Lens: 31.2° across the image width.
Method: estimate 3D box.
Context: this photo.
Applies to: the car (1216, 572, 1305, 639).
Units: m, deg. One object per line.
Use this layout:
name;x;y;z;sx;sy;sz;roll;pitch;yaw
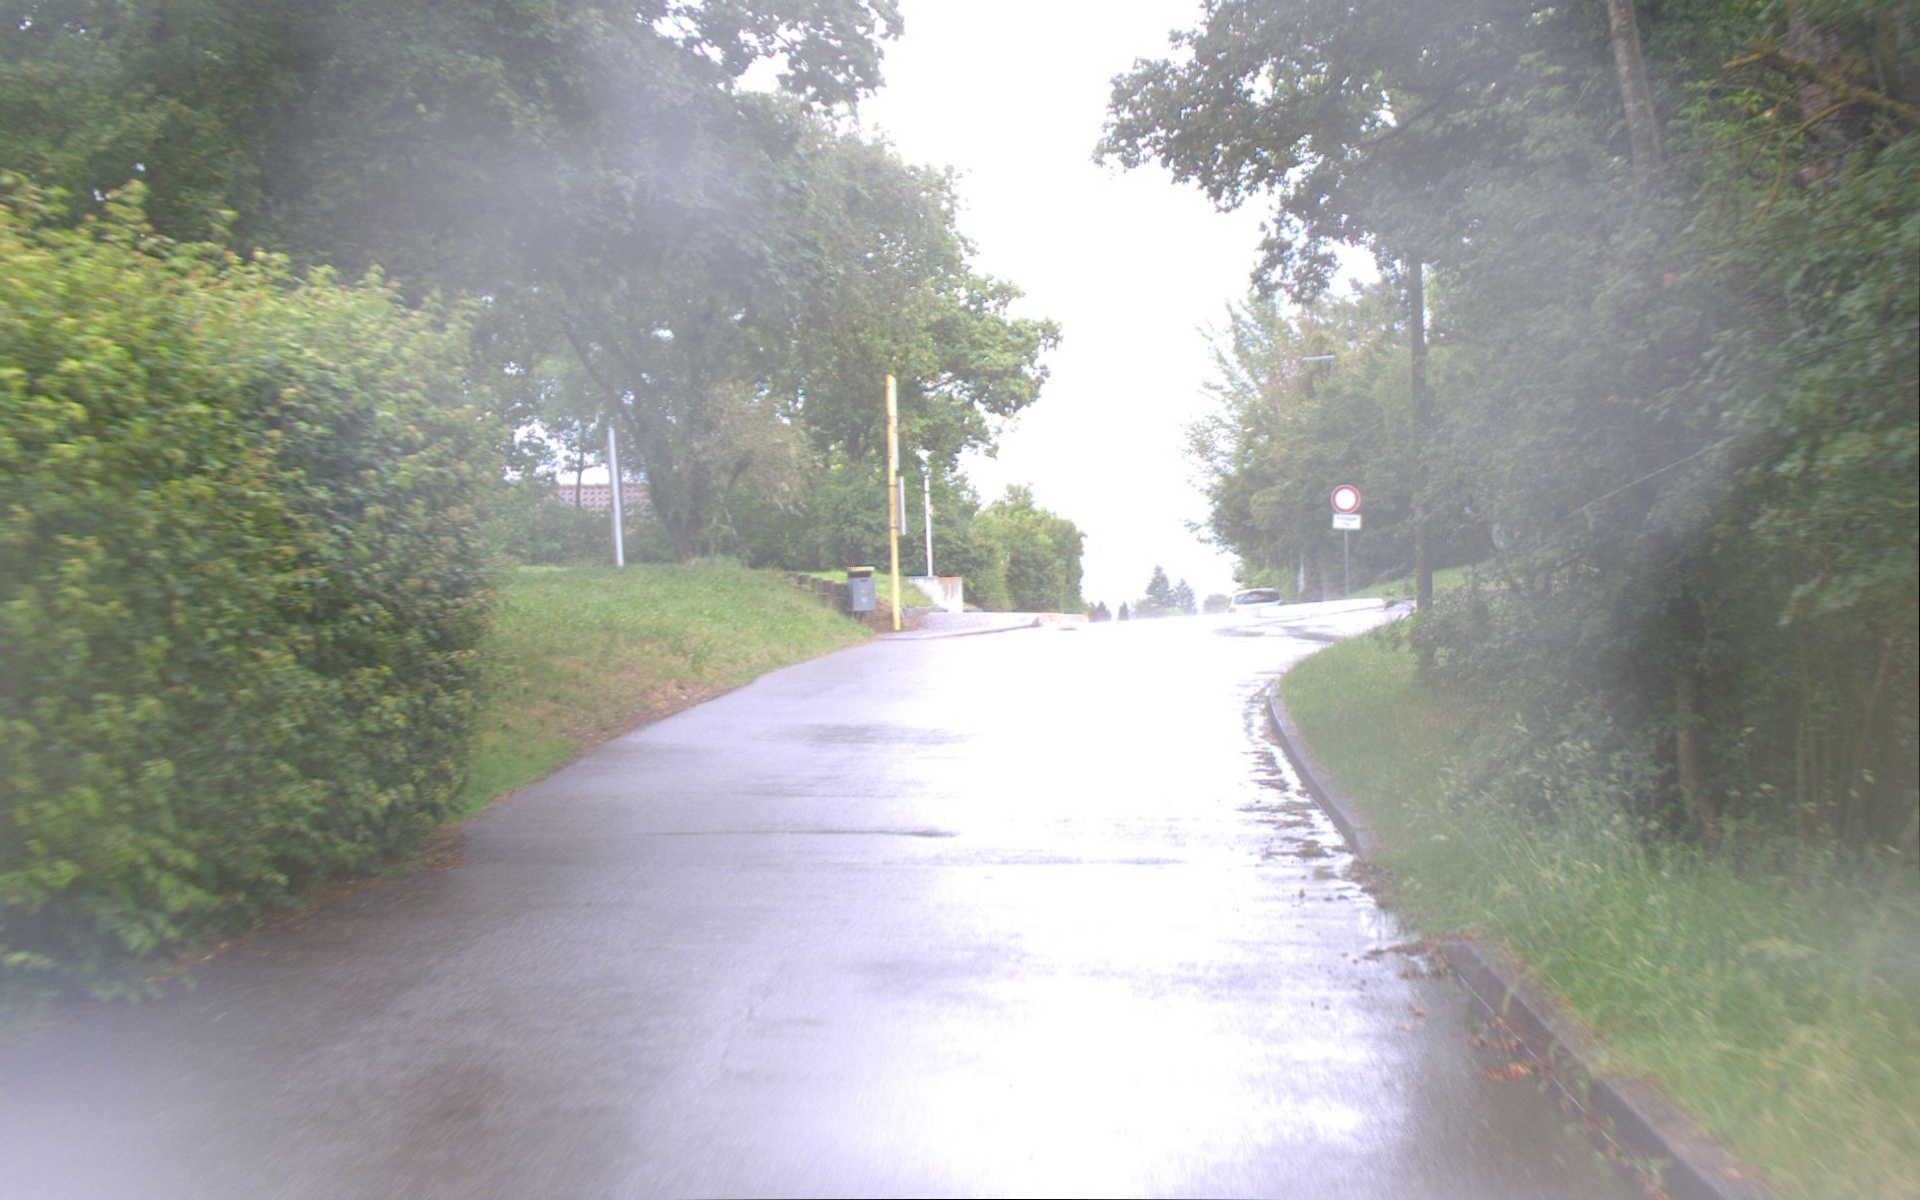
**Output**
car;7.985;0.172;91.130;1.994;1.578;3.998;-2;-3;10
